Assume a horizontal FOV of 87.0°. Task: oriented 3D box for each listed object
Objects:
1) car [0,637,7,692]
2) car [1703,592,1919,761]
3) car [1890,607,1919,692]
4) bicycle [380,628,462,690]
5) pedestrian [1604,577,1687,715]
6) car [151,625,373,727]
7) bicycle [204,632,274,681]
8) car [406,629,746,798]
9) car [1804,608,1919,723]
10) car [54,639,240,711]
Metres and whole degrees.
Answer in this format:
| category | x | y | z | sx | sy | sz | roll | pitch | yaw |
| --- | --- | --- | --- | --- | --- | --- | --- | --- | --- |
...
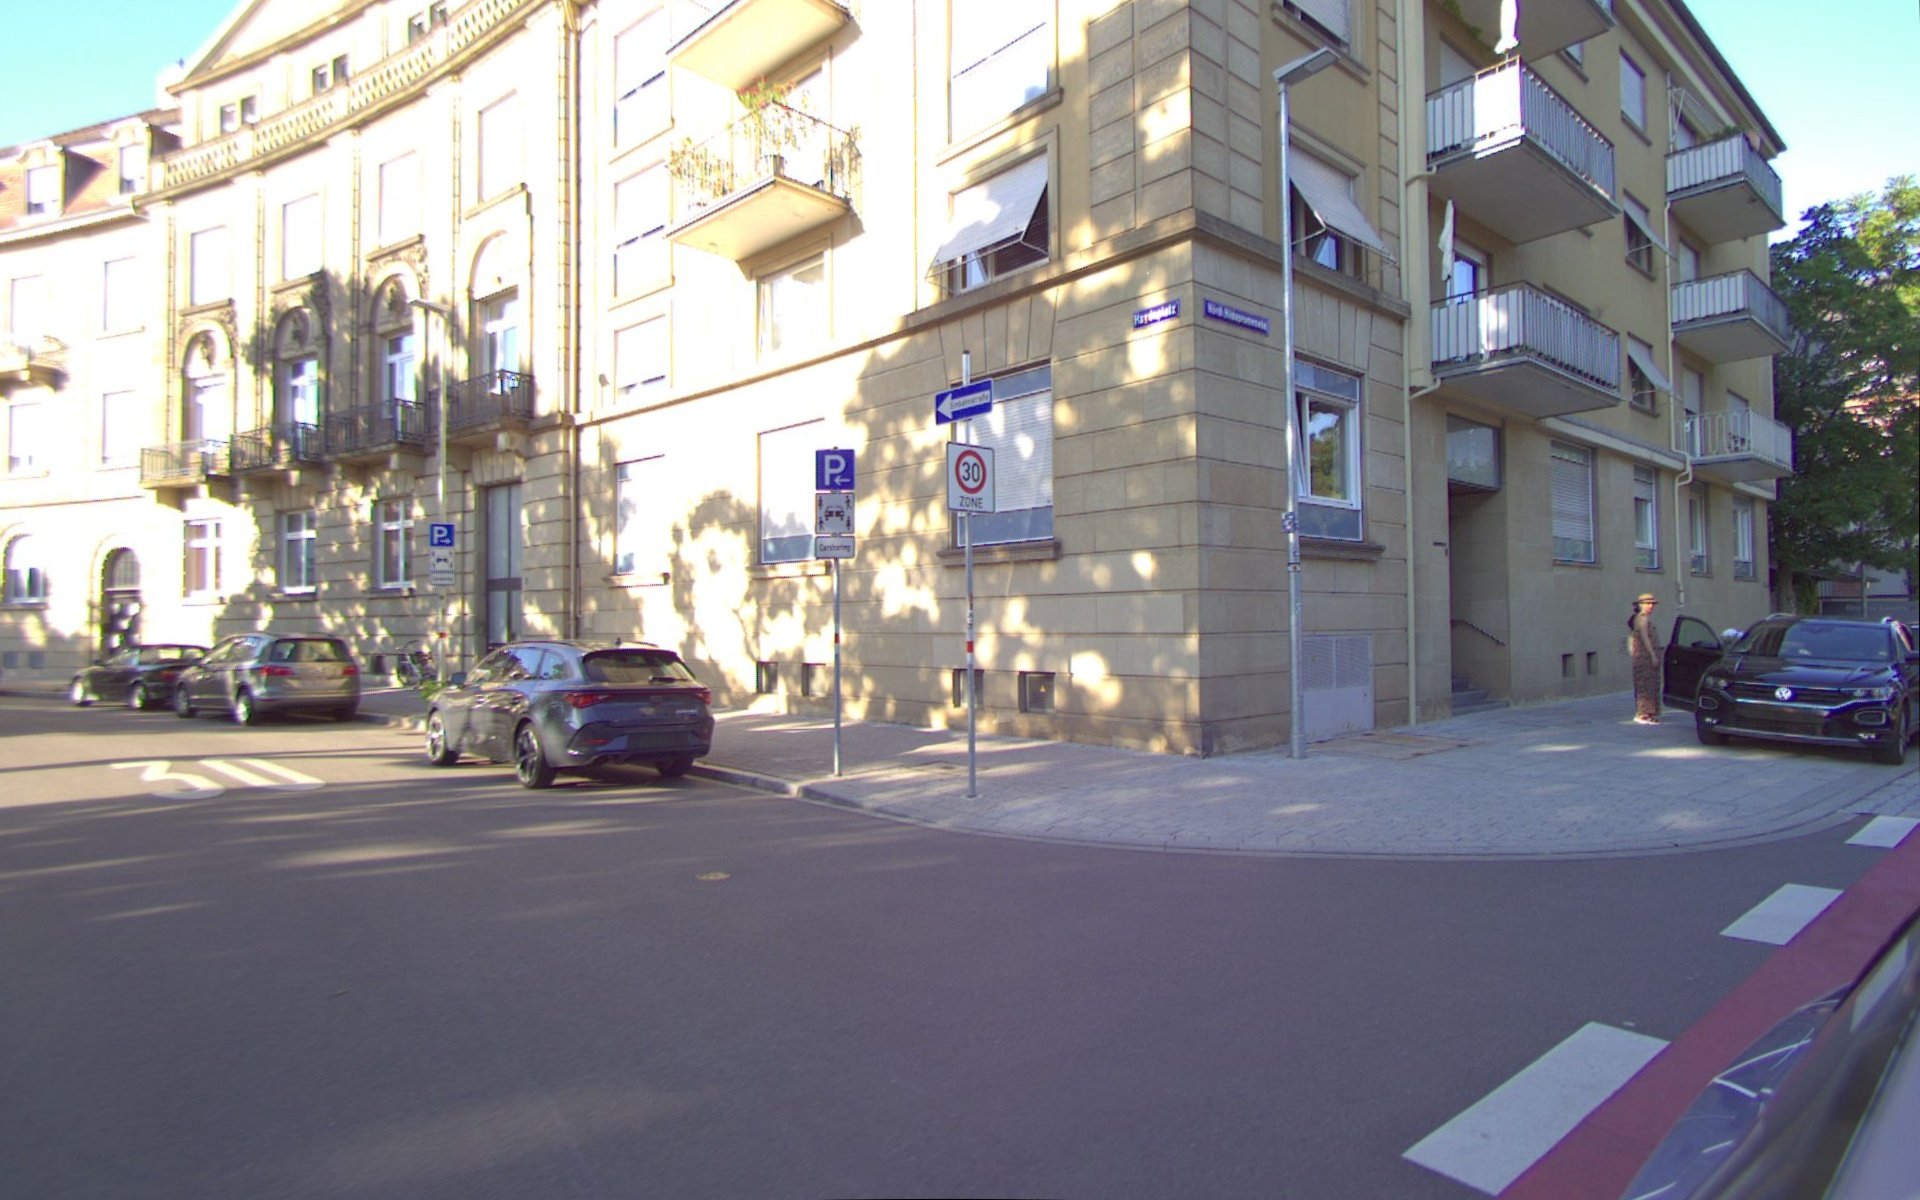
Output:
| category | x | y | z | sx | sy | sz | roll | pitch | yaw |
| --- | --- | --- | --- | --- | --- | --- | --- | --- | --- |
| car | -27.448 | 1.728 | 26.433 | 4.589 | 1.435 | 1.808 | -1 | -1 | 19 |
| car | 10.461 | 0.784 | 12.026 | 4.271 | 1.646 | 1.706 | 1 | 0 | -41 |
| car | 18.760 | 0.895 | 18.871 | 3.966 | 1.438 | 1.706 | -1 | 1 | -42 |
| bicycle | -12.042 | 1.294 | 22.574 | 2.240 | 1.327 | 0.607 | -1 | -1 | 33 |
| pedestrian | 9.503 | 0.636 | 14.050 | 0.721 | 1.854 | 0.554 | -2 | -2 | 14 |
| car | -12.782 | 1.303 | 18.455 | 4.419 | 1.620 | 1.782 | -1 | -1 | 33 |
| bicycle | -19.291 | 1.492 | 27.078 | 2.102 | 1.246 | 0.609 | -1 | -1 | 26 |
| car | -4.430 | 1.071 | 11.268 | 1.904 | 1.437 | 4.440 | 0 | -1 | -45 |
| car | 14.173 | 0.883 | 14.997 | 4.269 | 1.438 | 1.707 | -1 | 1 | -38 |
| car | -17.154 | 1.519 | 21.303 | 4.412 | 1.341 | 1.490 | -1 | -1 | 28 |
